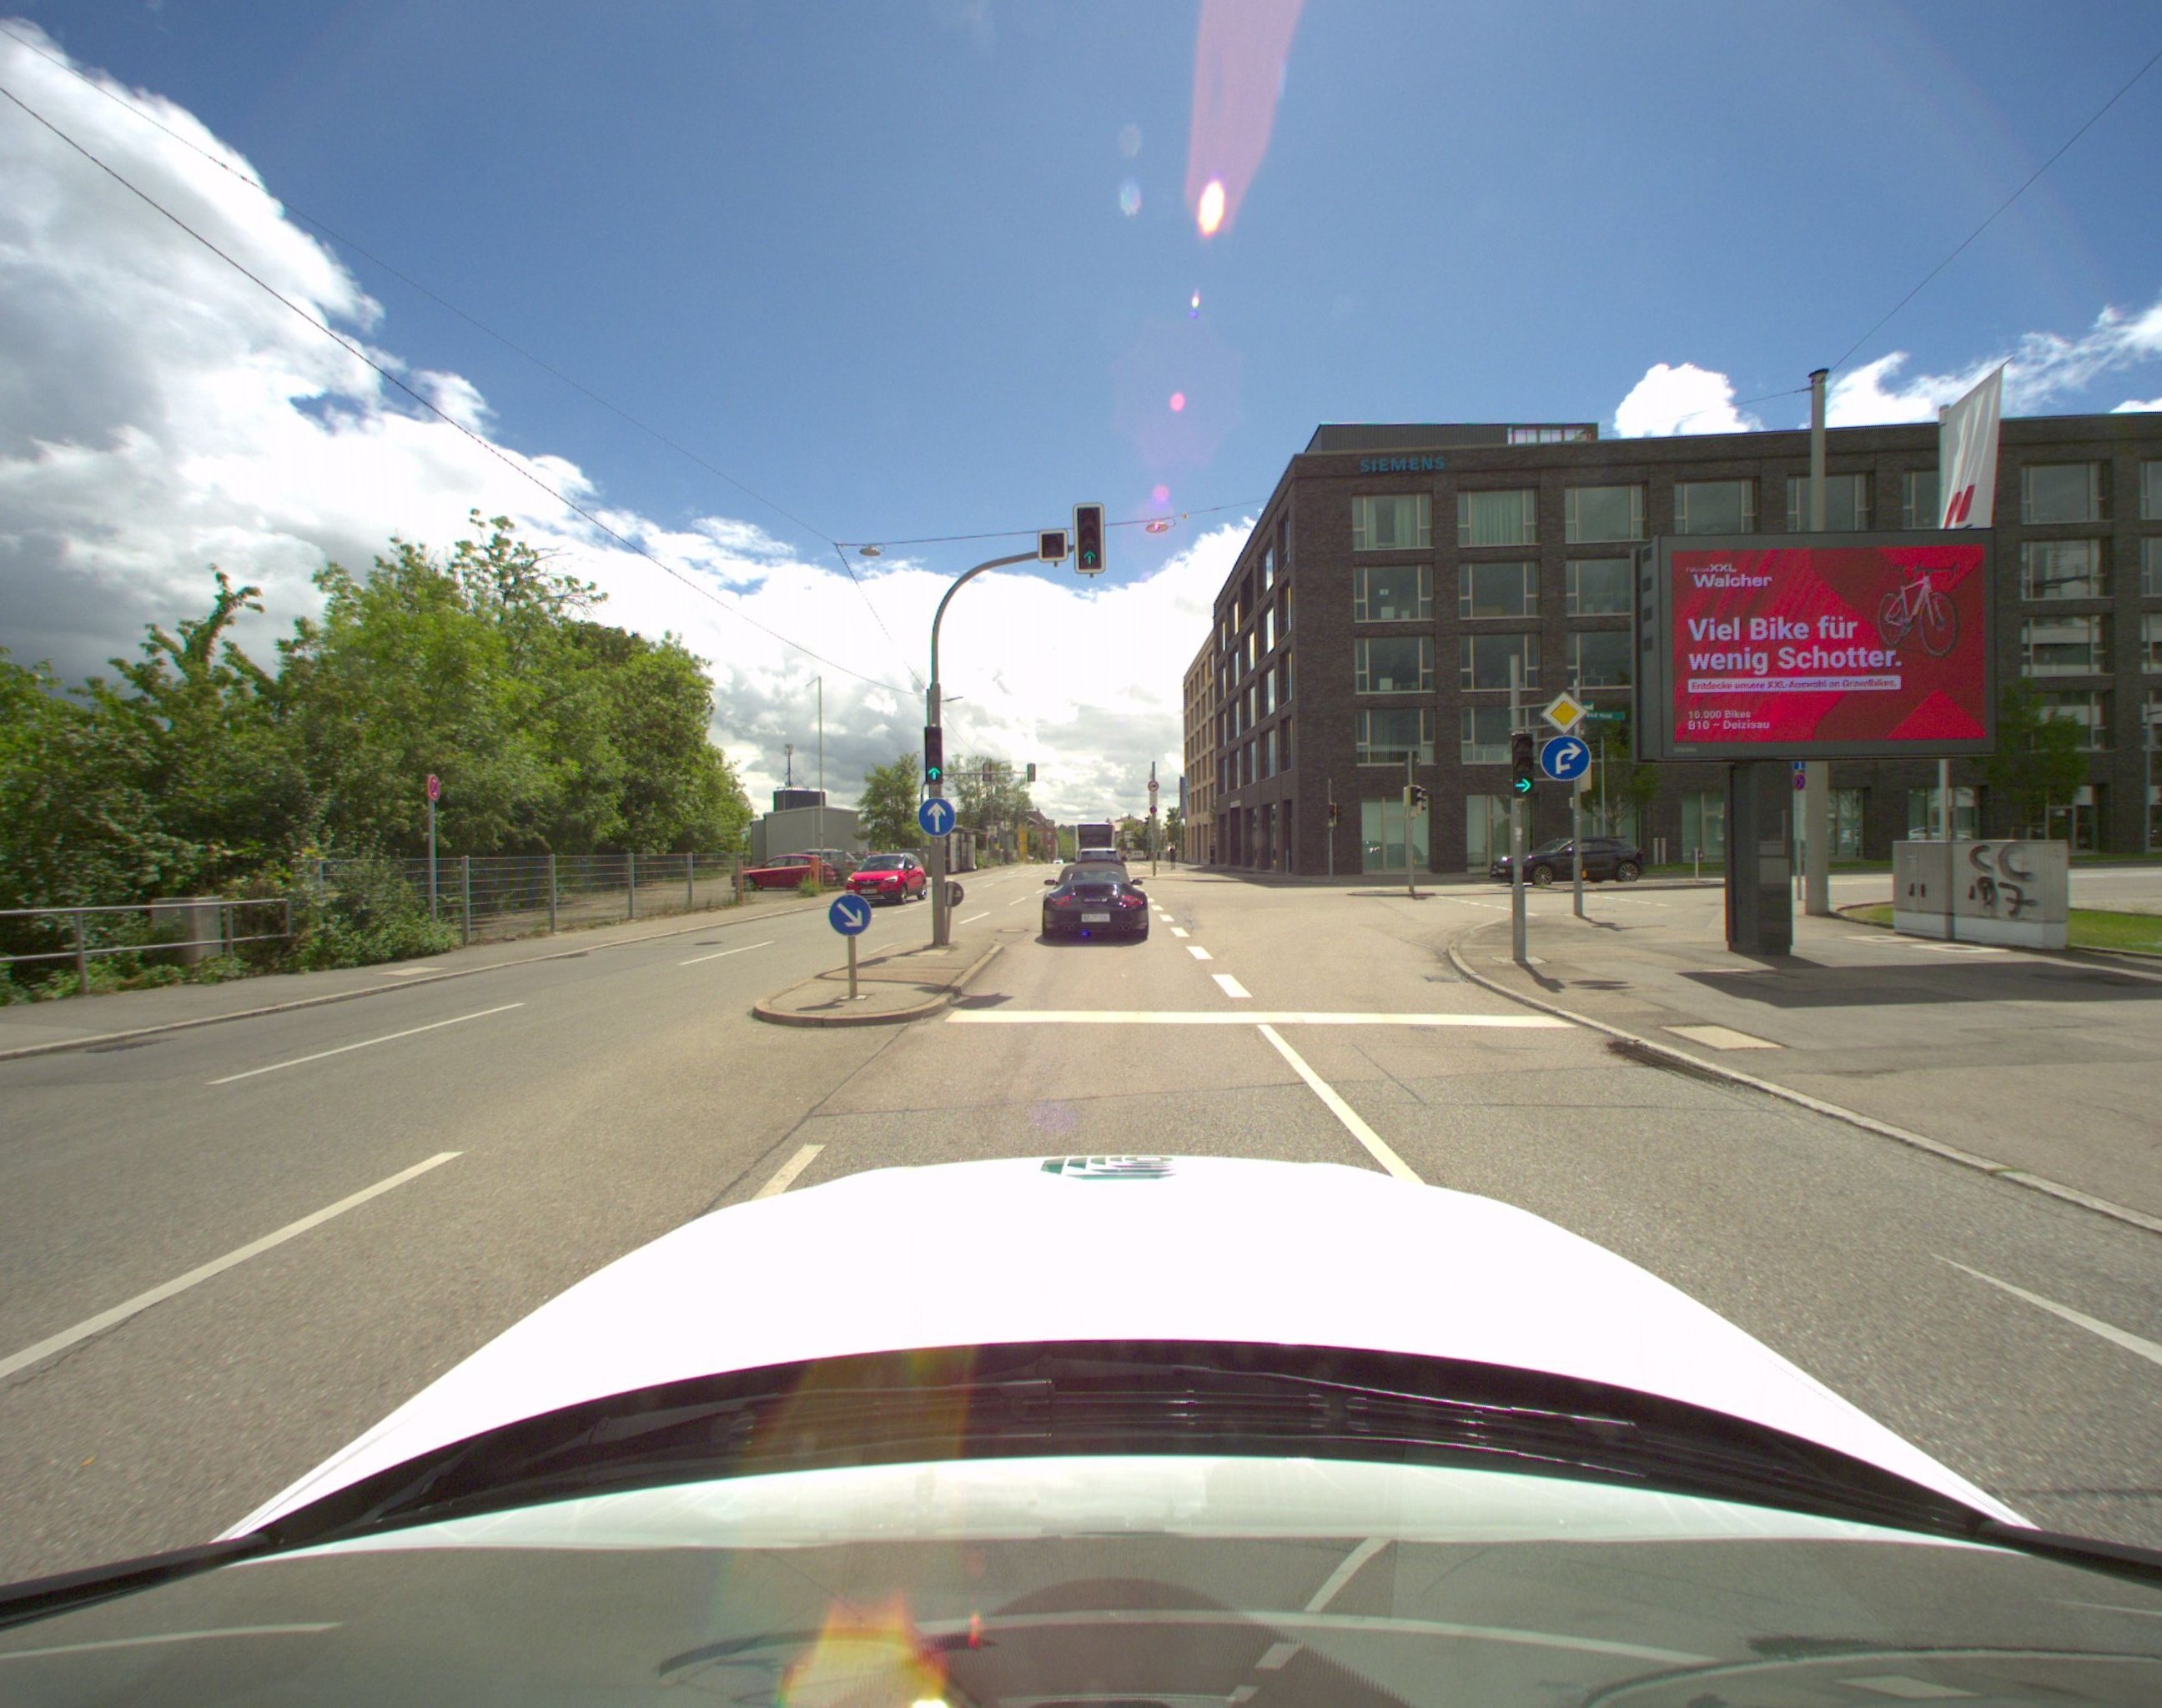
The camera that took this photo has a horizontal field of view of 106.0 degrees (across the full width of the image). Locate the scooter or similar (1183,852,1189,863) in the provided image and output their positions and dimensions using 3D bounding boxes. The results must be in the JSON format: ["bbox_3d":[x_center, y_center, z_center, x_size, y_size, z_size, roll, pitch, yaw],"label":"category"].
[{"bbox_3d":[11.297,0.404,87.340,0.425,1.153,1.403,-2,-1,0],"label":"scooter or similar"}]

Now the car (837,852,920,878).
[{"bbox_3d":[-11.834,0.633,47.728,4.294,1.419,2.026,-1,0,2],"label":"car"}]

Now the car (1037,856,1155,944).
[{"bbox_3d":[0.308,0.770,15.502,1.923,1.376,4.210,-1,0,2],"label":"car"}]

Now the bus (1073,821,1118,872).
[{"bbox_3d":[1.153,-0.529,57.347,2.791,3.198,12.202,-1,0,2],"label":"bus"}]

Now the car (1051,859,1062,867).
[{"bbox_3d":[-4.437,1.581,148.311,1.791,1.376,4.224,-2,0,0],"label":"car"}]

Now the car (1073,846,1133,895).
[{"bbox_3d":[0.721,0.543,29.099,1.925,1.583,4.205,-1,0,-1],"label":"car"}]

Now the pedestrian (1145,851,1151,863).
[{"bbox_3d":[8.812,0.385,107.200,0.685,1.536,0.856,-1,-1,0],"label":"pedestrian"}]

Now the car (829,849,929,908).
[{"bbox_3d":[-6.240,0.700,25.668,1.923,1.599,4.155,-3,0,2],"label":"car"}]

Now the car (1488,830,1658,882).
[{"bbox_3d":[16.816,0.055,27.994,4.624,1.618,2.000,-1,0,0],"label":"car"}]

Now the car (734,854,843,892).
[{"bbox_3d":[-11.913,0.764,33.441,3.849,1.419,1.897,-1,0,-8],"label":"car"}]

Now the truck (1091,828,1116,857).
[{"bbox_3d":[2.562,-1.292,93.711,2.704,3.054,7.713,-1,0,0],"label":"truck"}]

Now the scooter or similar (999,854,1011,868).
[{"bbox_3d":[-7.219,0.640,77.239,0.530,1.262,1.478,0,0,18],"label":"scooter or similar"}]

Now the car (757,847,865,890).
[{"bbox_3d":[-11.925,0.614,36.220,4.094,1.734,1.997,-1,0,-4],"label":"car"}]

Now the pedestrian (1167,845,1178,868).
[{"bbox_3d":[6.671,0.177,59.378,0.681,1.728,0.962,0,0,0],"label":"pedestrian"}]
